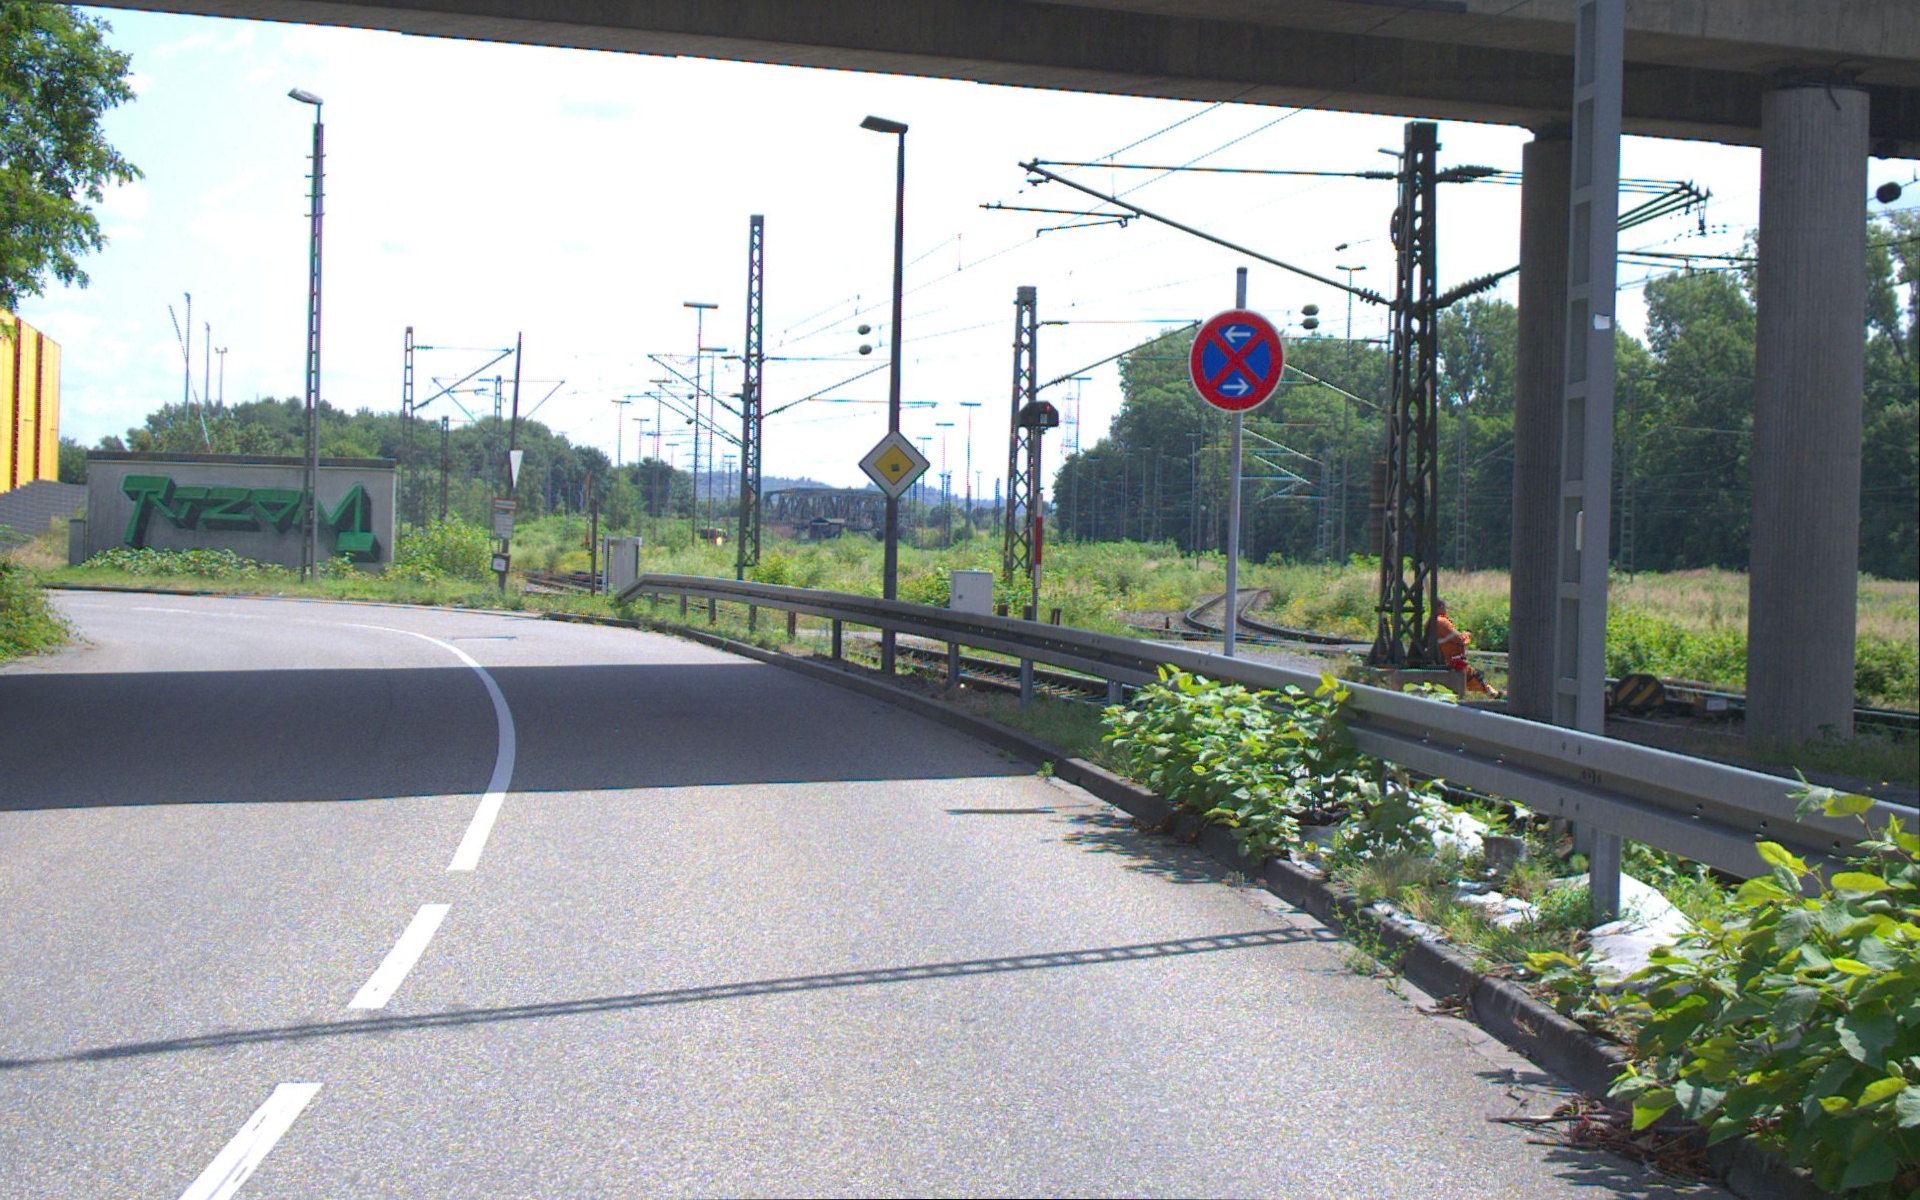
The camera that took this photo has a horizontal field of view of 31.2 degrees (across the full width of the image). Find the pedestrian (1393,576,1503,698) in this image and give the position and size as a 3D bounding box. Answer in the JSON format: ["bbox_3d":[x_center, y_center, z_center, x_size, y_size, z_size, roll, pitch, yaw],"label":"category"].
[{"bbox_3d":[6.332,0.471,44.691,1.110,1.534,1.579,1,0,-2],"label":"pedestrian"}]
